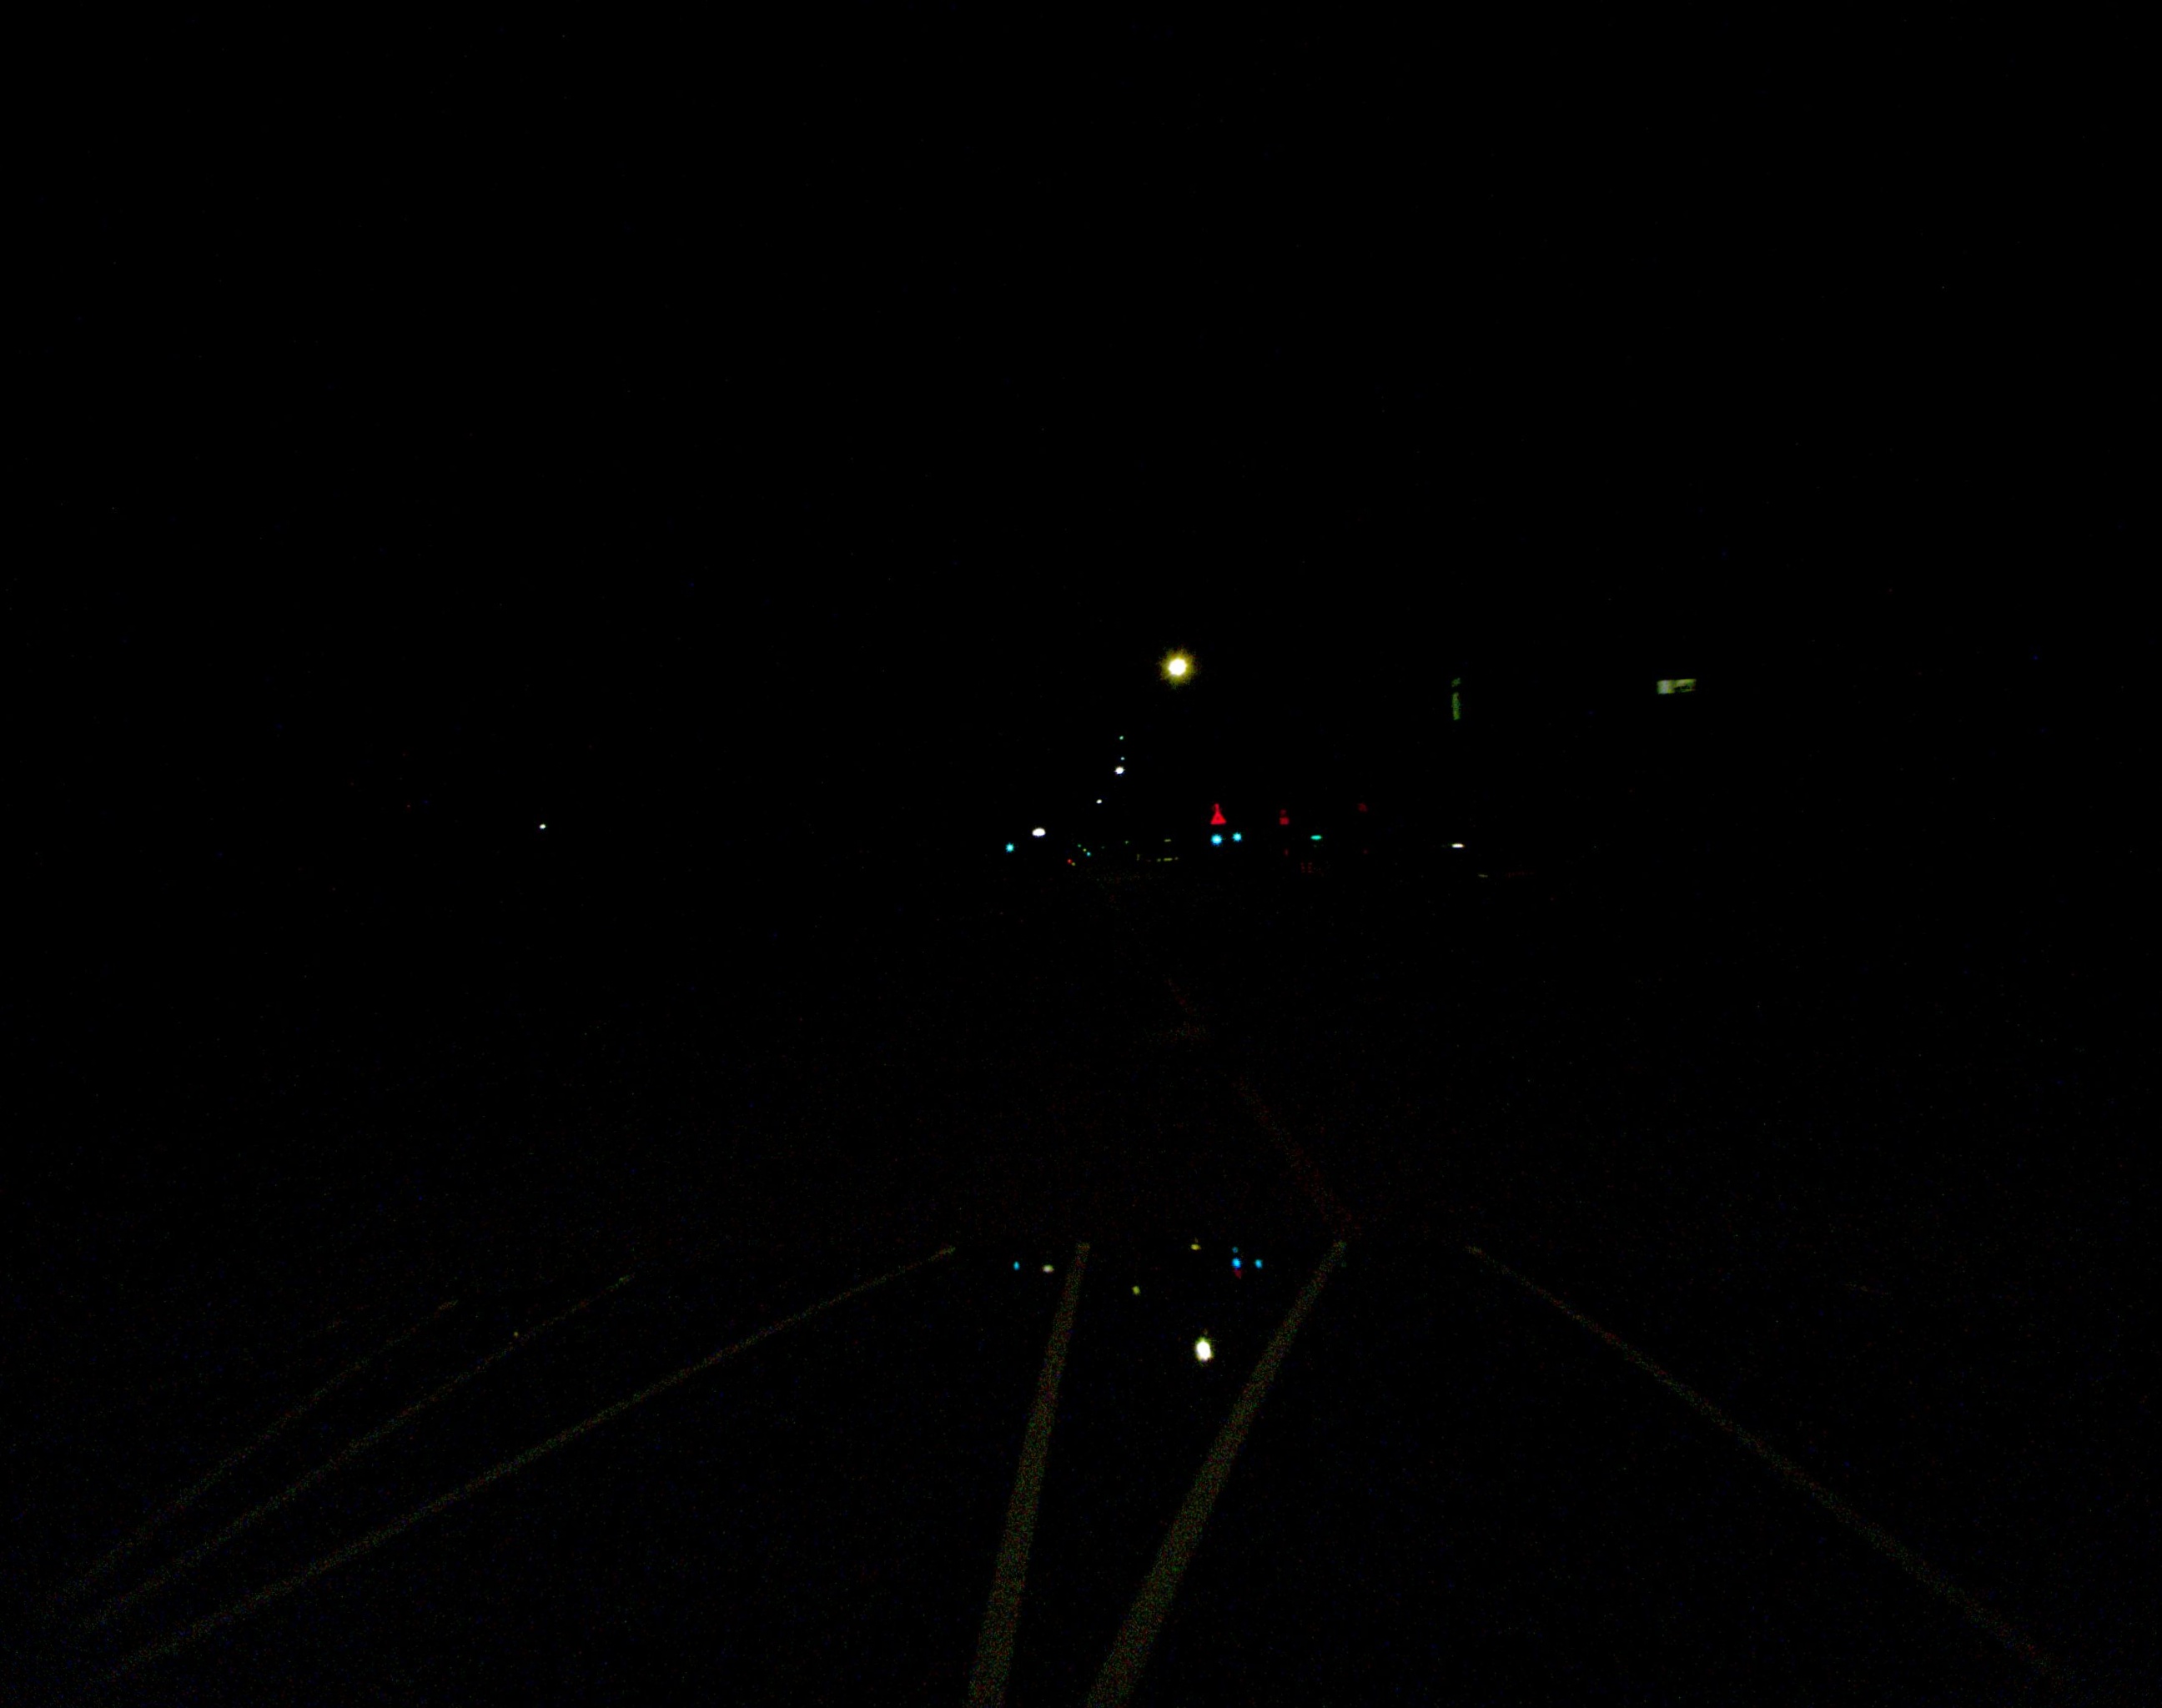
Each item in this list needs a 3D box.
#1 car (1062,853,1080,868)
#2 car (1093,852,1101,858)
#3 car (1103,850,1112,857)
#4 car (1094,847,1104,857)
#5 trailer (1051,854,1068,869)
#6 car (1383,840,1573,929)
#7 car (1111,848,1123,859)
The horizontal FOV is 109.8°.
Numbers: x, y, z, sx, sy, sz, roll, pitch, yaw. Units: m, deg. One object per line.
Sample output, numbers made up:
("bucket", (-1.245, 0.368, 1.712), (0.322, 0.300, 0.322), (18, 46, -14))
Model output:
("car", (-0.984, 0.670, 79.055), (1.590, 1.452, 3.797), (-3, 0, 2))
("car", (4.135, 0.339, 199.041), (1.826, 1.423, 3.730), (-5, 0, -2))
("car", (5.790, -0.110, 165.791), (1.826, 1.637, 3.731), (-2, 0, 1))
("car", (4.956, -0.632, 210.026), (2.005, 2.493, 4.953), (-5, 0, -2))
("trailer", (-2.475, 0.845, 87.508), (1.604, 1.486, 3.734), (-4, 0, 3))
("car", (7.854, 0.546, 15.499), (1.718, 1.485, 3.989), (-3, 0, 0))
("car", (6.532, -0.150, 137.889), (1.882, 1.798, 3.731), (-5, 0, 1))
